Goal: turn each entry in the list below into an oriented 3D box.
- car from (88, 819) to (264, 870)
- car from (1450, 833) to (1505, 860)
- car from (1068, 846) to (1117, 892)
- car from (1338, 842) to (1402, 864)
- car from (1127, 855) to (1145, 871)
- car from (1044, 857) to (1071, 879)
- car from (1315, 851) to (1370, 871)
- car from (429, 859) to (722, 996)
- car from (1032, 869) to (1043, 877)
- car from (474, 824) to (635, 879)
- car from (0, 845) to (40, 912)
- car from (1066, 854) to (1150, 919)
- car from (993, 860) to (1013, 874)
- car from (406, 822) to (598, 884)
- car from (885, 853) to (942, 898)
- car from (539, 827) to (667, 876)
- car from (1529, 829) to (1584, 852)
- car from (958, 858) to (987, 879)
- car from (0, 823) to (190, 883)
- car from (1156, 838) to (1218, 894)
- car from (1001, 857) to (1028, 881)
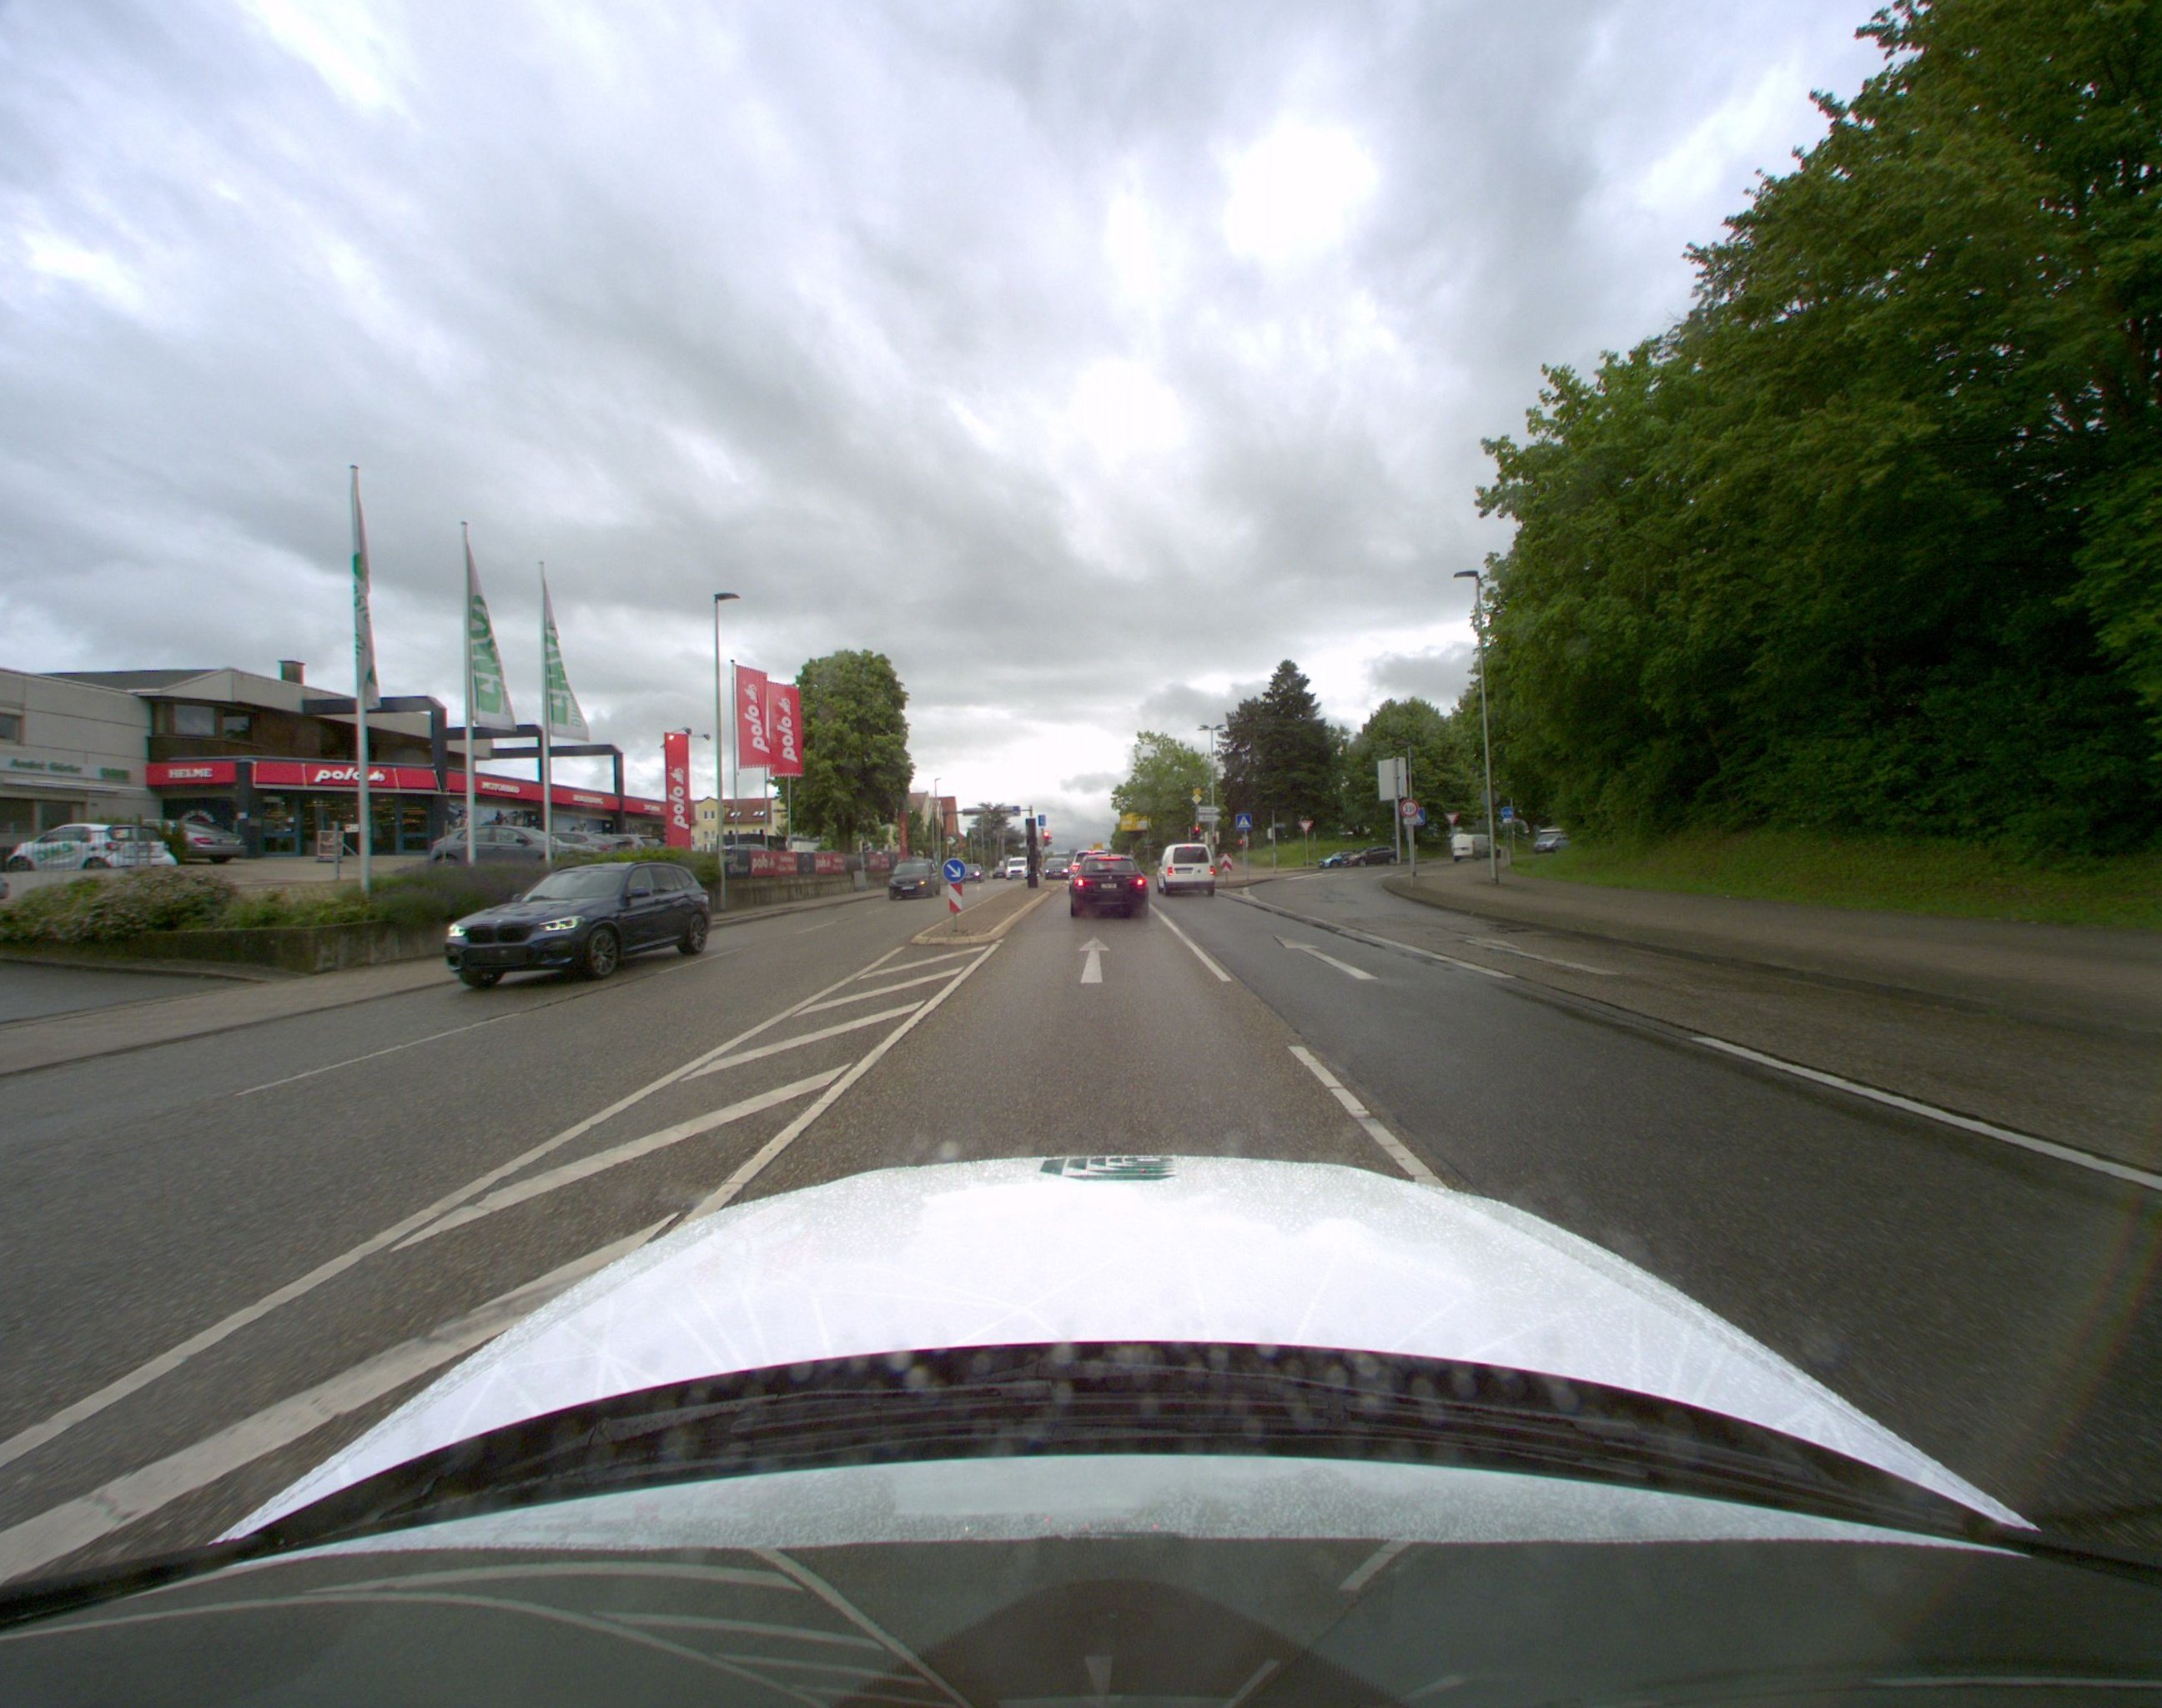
[{"bbox_3d":[-30.722,-0.314,27.738,3.972,1.512,1.876,-2,0,3],"label":"car"},{"bbox_3d":[27.965,-0.552,57.422,3.963,1.708,1.800,-3,1,-36],"label":"car"},{"bbox_3d":[0.495,0.572,32.282,1.720,1.711,3.386,-1,0,4],"label":"car"},{"bbox_3d":[22.107,-0.070,62.270,4.328,1.467,1.889,-2,0,-18],"label":"car"},{"bbox_3d":[5.536,0.912,82.261,1.594,1.371,3.683,-3,1,3],"label":"car"},{"bbox_3d":[-1.734,1.002,59.258,1.890,1.456,4.093,-2,-1,-2],"label":"car"},{"bbox_3d":[20.915,0.559,65.177,3.997,1.294,1.599,-4,1,-17],"label":"car"},{"bbox_3d":[-7.596,0.973,12.903,1.746,1.610,4.531,-4,1,-1],"label":"car"},{"bbox_3d":[-7.948,3.488,148.132,1.662,1.354,3.442,-2,0,0],"label":"car"},{"bbox_3d":[-15.913,-0.073,24.772,3.643,1.482,1.738,-2,0,-6],"label":"car"},{"bbox_3d":[-25.281,0.606,17.066,1.668,1.512,4.004,-3,0,1],"label":"car"},{"bbox_3d":[0.726,0.726,20.101,1.847,1.419,3.960,-1,0,3],"label":"car"},{"bbox_3d":[-8.440,1.440,88.639,1.662,1.382,4.072,-2,0,0],"label":"car"},{"bbox_3d":[-15.645,-0.045,22.181,3.822,1.482,1.738,-2,0,-7],"label":"car"},{"bbox_3d":[-7.047,0.866,34.692,1.753,1.677,4.142,-3,0,-4],"label":"car"},{"bbox_3d":[-16.404,-0.074,28.044,3.404,1.509,1.582,-2,0,0],"label":"car"},{"bbox_3d":[42.584,-1.214,72.921,4.752,1.851,1.885,-2,1,-26],"label":"car"},{"bbox_3d":[-8.166,1.076,61.599,1.629,1.381,3.764,-4,0,0],"label":"car"},{"bbox_3d":[-27.639,-0.024,22.450,3.819,1.482,1.872,-2,0,-4],"label":"car"},{"bbox_3d":[3.772,0.405,29.573,1.736,1.869,3.945,-1,0,0],"label":"car"},{"bbox_3d":[-5.505,1.230,68.017,1.852,1.823,4.578,-4,0,-1],"label":"car"}]
